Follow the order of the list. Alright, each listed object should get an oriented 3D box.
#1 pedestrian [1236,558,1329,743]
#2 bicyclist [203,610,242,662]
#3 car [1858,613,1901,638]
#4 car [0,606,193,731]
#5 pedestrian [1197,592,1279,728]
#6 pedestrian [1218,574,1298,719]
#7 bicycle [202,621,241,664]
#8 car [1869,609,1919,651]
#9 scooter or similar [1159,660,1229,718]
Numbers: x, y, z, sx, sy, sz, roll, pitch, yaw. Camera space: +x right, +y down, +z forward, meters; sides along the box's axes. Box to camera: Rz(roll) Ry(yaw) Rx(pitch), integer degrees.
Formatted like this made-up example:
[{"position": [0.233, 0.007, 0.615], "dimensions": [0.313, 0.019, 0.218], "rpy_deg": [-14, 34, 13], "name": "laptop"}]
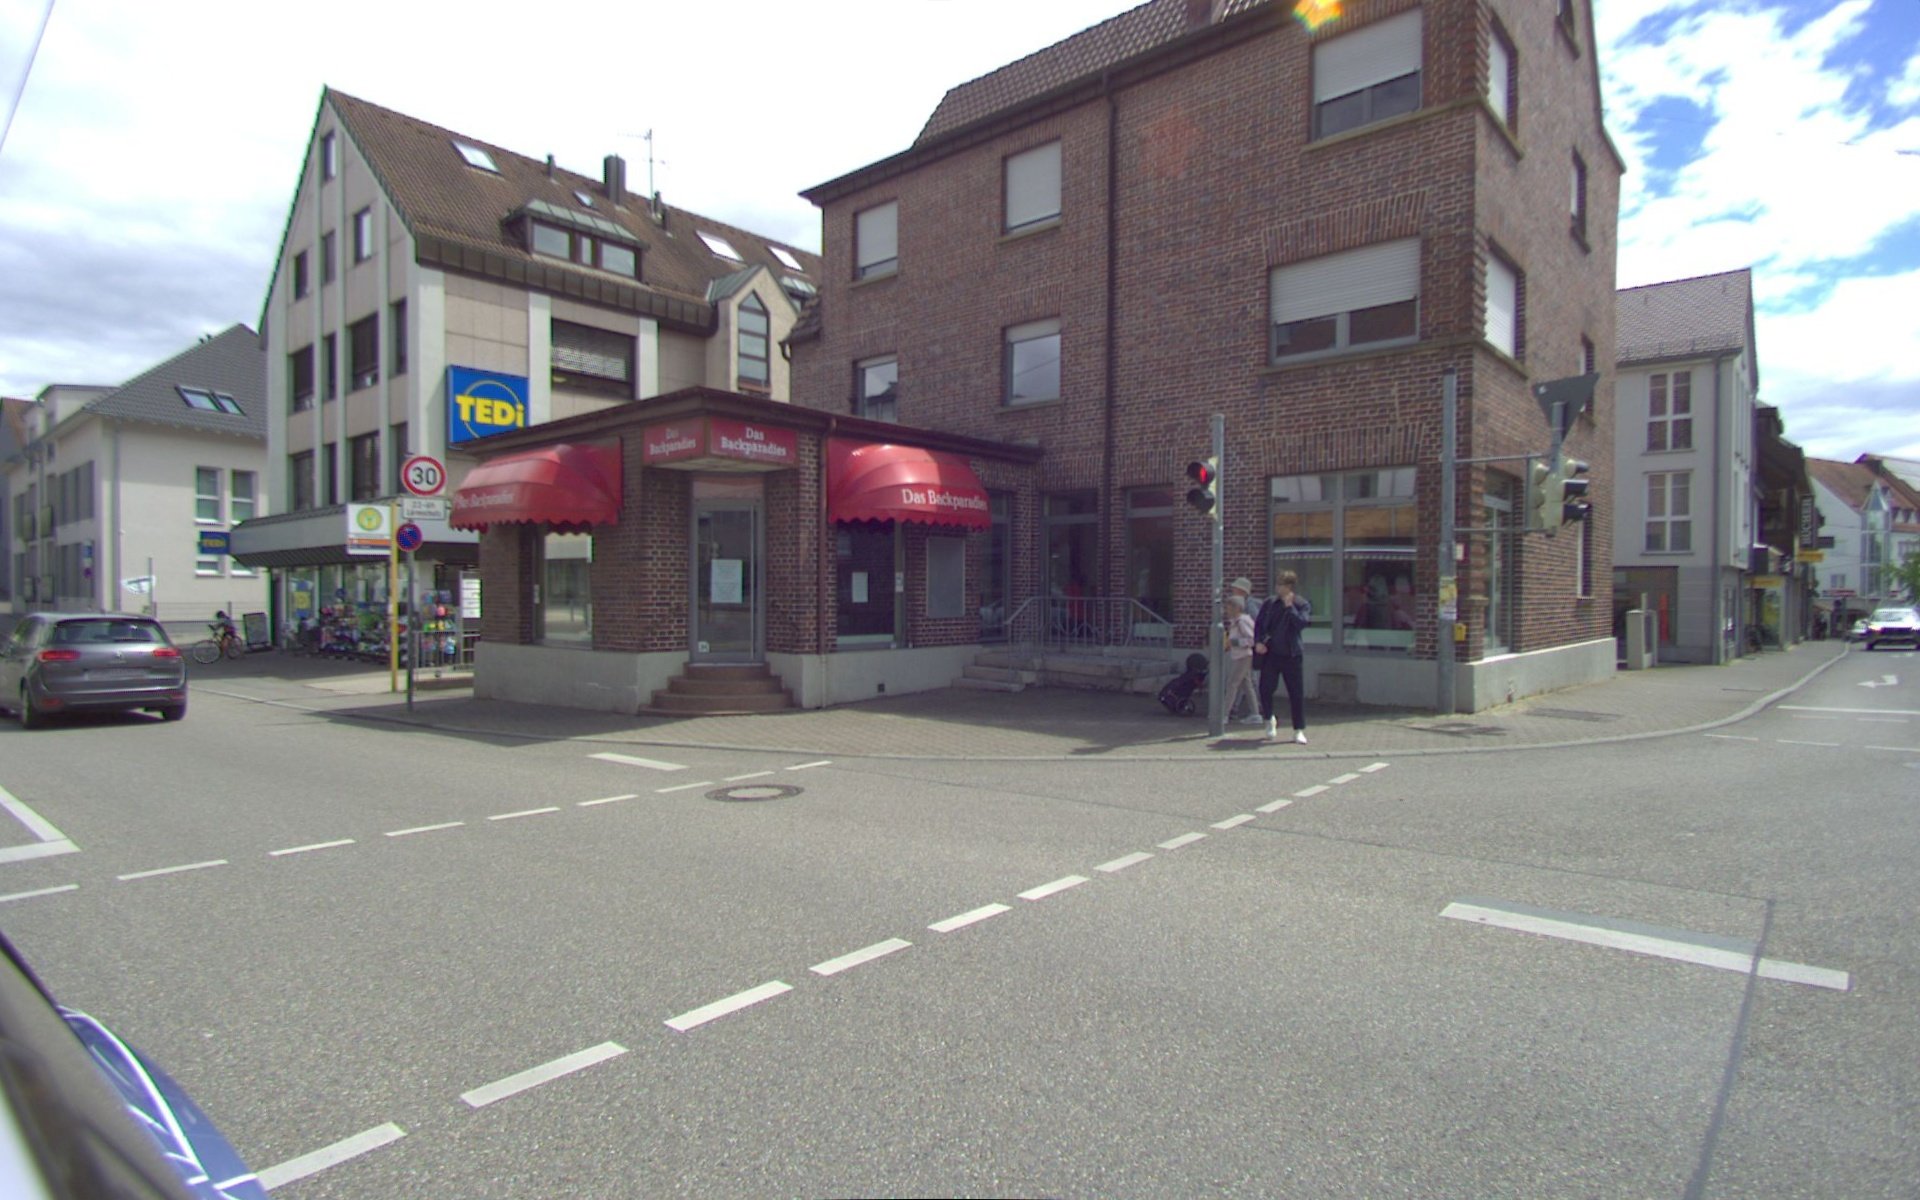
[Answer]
[{"position": [3.297, 0.478, 10.345], "dimensions": [0.720, 1.810, 0.619], "rpy_deg": [1, 2, 39], "name": "pedestrian"}, {"position": [-20.455, 0.993, 28.066], "dimensions": [0.761, 1.347, 0.660], "rpy_deg": [1, 4, 40], "name": "bicyclist"}, {"position": [60.188, 1.670, 66.294], "dimensions": [1.920, 1.586, 4.270], "rpy_deg": [-1, -1, 41], "name": "car"}, {"position": [-13.076, 0.930, 15.024], "dimensions": [4.096, 1.602, 1.772], "rpy_deg": [-1, -2, 39], "name": "car"}, {"position": [3.215, 0.664, 11.702], "dimensions": [0.760, 1.496, 0.519], "rpy_deg": [1, 2, 39], "name": "pedestrian"}, {"position": [3.572, 0.531, 12.127], "dimensions": [0.760, 1.671, 0.519], "rpy_deg": [1, 2, 39], "name": "pedestrian"}, {"position": [-20.436, 1.158, 28.001], "dimensions": [1.733, 1.057, 0.439], "rpy_deg": [2, 4, 41], "name": "bicycle"}, {"position": [37.291, 1.148, 39.993], "dimensions": [1.920, 1.586, 4.270], "rpy_deg": [-1, -1, 41], "name": "car"}, {"position": [2.869, 1.086, 12.409], "dimensions": [0.803, 0.651, 0.377], "rpy_deg": [1, -1, 19], "name": "scooter or similar"}]
